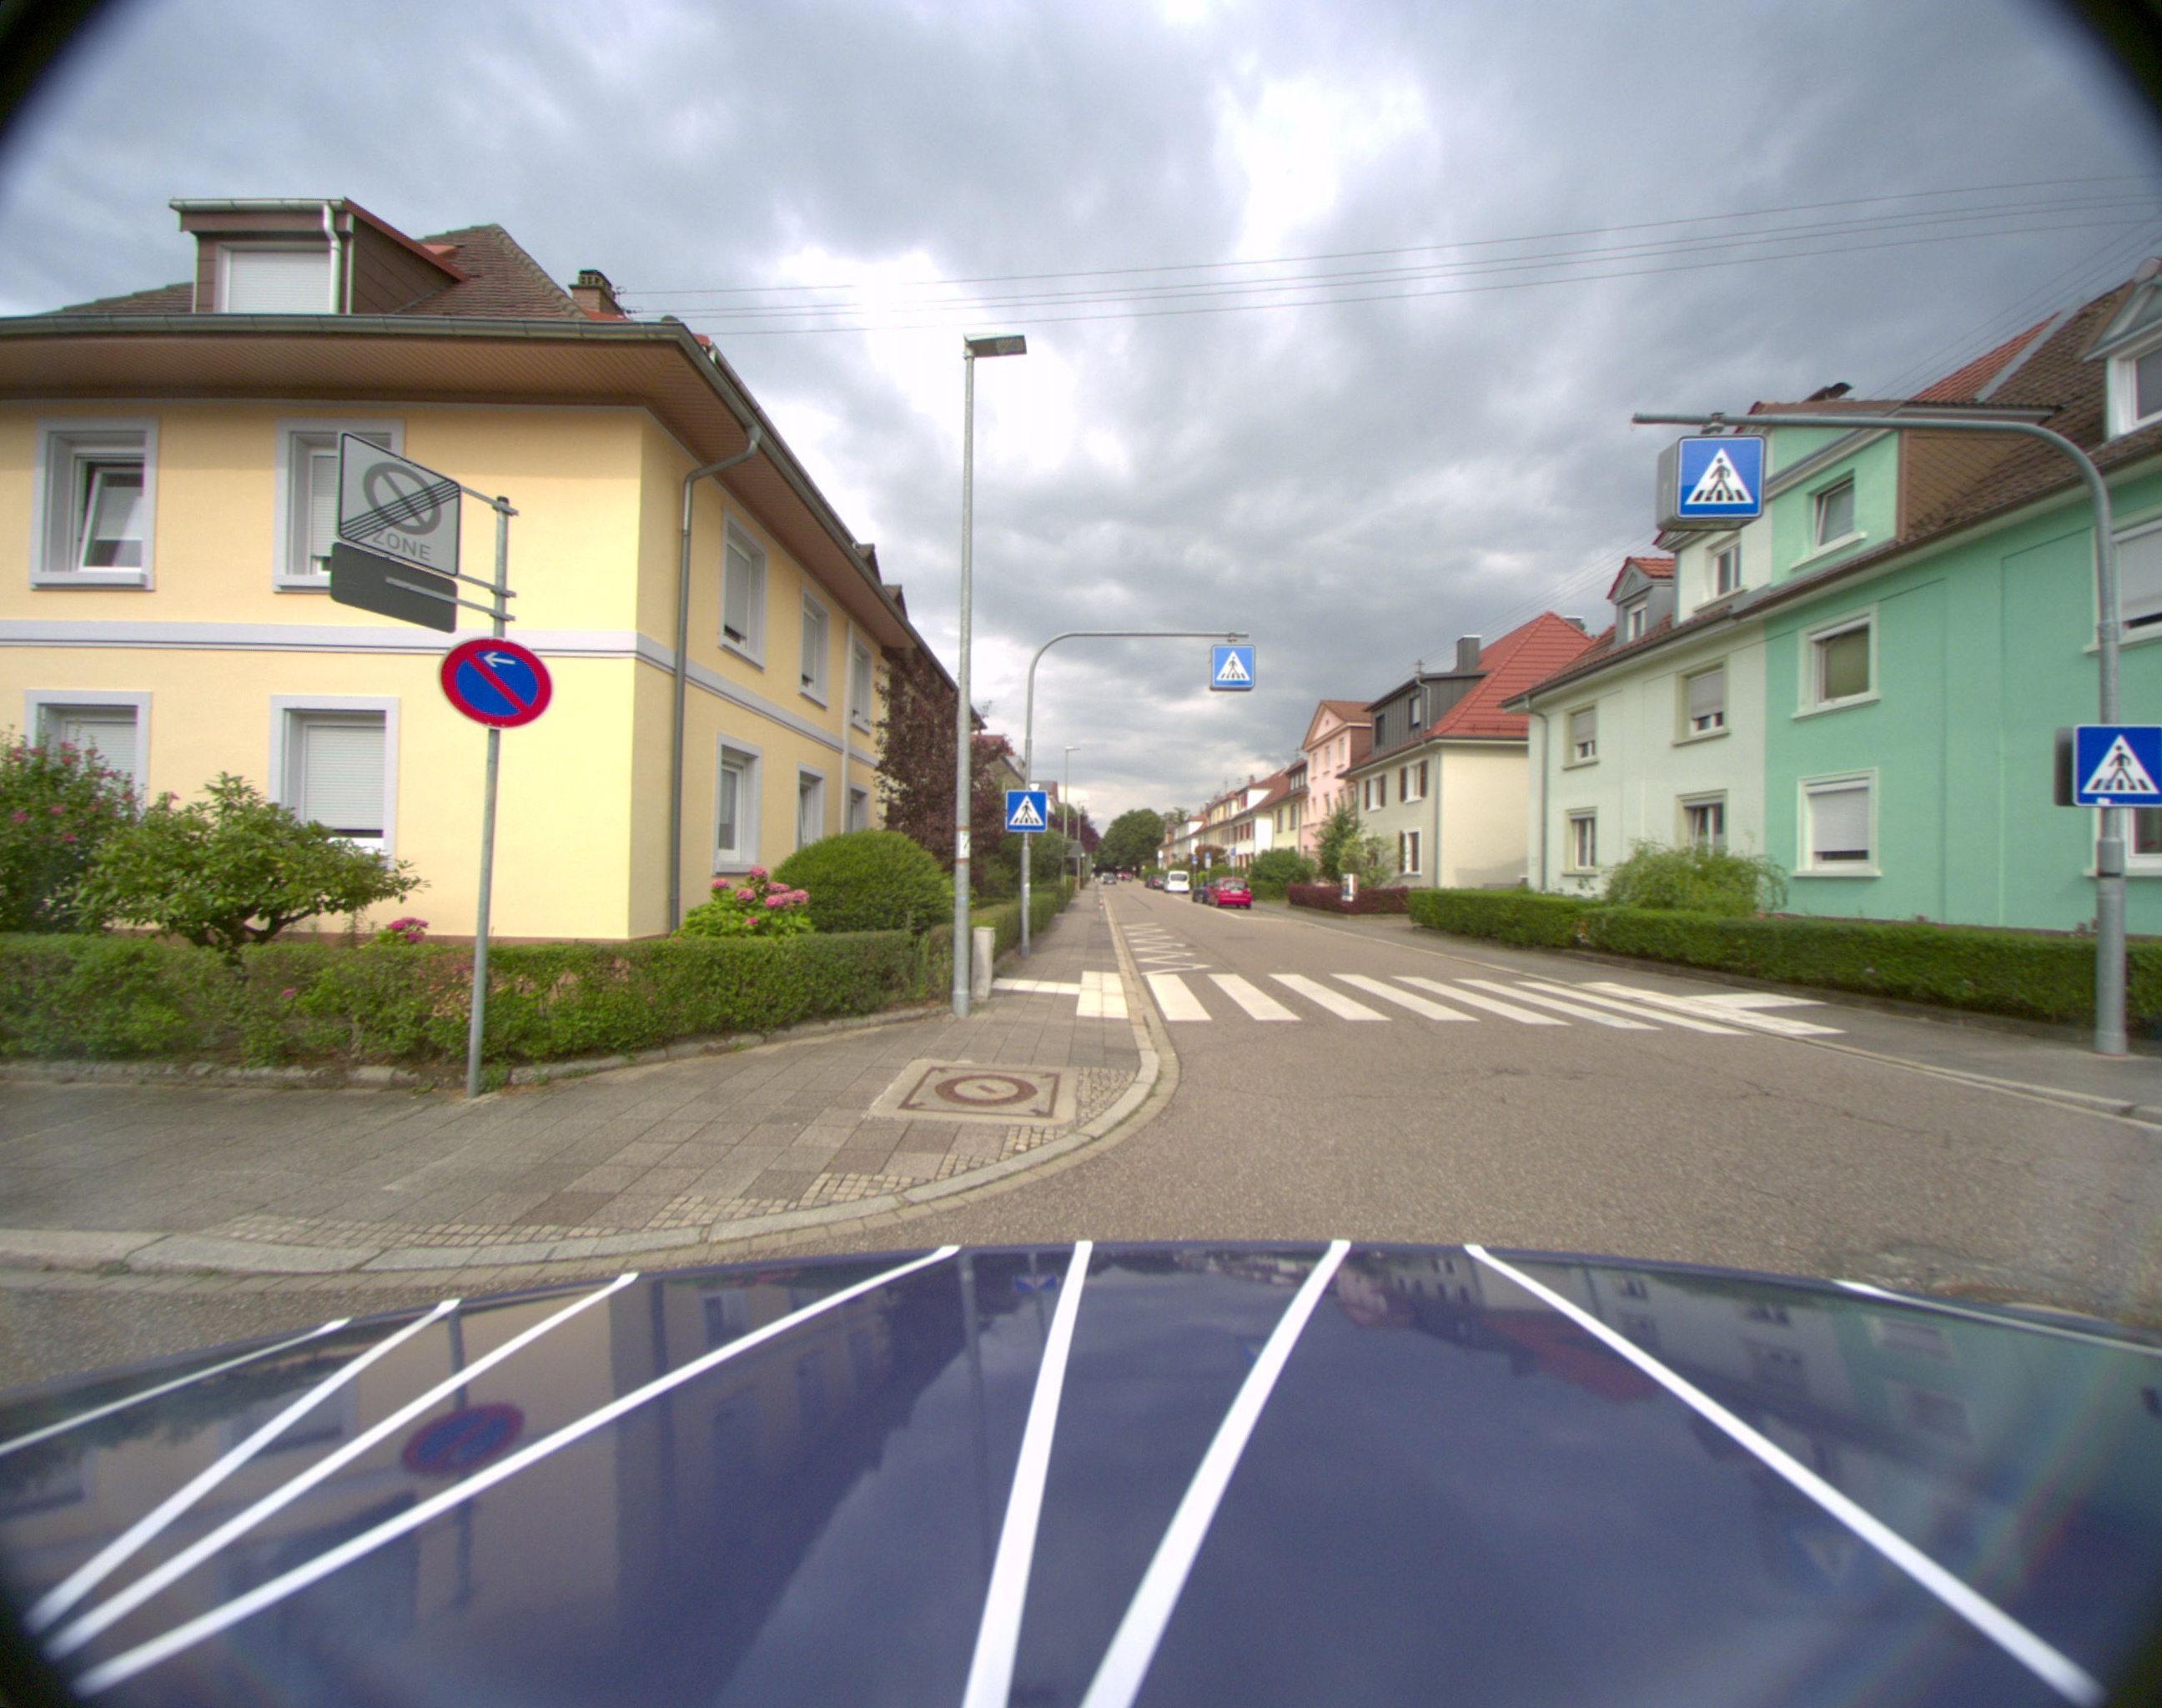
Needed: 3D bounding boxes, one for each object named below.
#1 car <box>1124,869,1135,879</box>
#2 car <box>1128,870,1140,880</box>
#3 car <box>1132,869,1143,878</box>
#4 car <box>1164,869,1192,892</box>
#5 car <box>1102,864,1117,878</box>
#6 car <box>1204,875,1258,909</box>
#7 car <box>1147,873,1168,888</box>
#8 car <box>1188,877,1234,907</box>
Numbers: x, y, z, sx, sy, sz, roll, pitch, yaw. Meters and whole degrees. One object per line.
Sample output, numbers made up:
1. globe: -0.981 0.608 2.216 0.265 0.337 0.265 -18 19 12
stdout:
1. car: 10.003 4.153 155.727 1.998 2.001 4.001 2 -1 2
2. car: 10.096 3.945 144.089 1.734 1.695 3.999 2 -1 -4
3. car: 9.969 3.482 133.681 1.501 1.456 3.092 2 -1 -3
4. car: 8.425 2.307 66.549 1.998 1.892 4.001 1 -1 1
5. car: 4.022 2.374 106.806 1.998 2.001 4.001 1 -1 1
6. car: 7.502 1.888 38.371 1.998 1.564 4.001 1 -1 1
7. car: 8.266 2.821 82.479 1.998 1.564 4.001 1 -1 1
8. car: 7.385 2.150 43.600 1.998 1.564 4.001 1 -1 1
